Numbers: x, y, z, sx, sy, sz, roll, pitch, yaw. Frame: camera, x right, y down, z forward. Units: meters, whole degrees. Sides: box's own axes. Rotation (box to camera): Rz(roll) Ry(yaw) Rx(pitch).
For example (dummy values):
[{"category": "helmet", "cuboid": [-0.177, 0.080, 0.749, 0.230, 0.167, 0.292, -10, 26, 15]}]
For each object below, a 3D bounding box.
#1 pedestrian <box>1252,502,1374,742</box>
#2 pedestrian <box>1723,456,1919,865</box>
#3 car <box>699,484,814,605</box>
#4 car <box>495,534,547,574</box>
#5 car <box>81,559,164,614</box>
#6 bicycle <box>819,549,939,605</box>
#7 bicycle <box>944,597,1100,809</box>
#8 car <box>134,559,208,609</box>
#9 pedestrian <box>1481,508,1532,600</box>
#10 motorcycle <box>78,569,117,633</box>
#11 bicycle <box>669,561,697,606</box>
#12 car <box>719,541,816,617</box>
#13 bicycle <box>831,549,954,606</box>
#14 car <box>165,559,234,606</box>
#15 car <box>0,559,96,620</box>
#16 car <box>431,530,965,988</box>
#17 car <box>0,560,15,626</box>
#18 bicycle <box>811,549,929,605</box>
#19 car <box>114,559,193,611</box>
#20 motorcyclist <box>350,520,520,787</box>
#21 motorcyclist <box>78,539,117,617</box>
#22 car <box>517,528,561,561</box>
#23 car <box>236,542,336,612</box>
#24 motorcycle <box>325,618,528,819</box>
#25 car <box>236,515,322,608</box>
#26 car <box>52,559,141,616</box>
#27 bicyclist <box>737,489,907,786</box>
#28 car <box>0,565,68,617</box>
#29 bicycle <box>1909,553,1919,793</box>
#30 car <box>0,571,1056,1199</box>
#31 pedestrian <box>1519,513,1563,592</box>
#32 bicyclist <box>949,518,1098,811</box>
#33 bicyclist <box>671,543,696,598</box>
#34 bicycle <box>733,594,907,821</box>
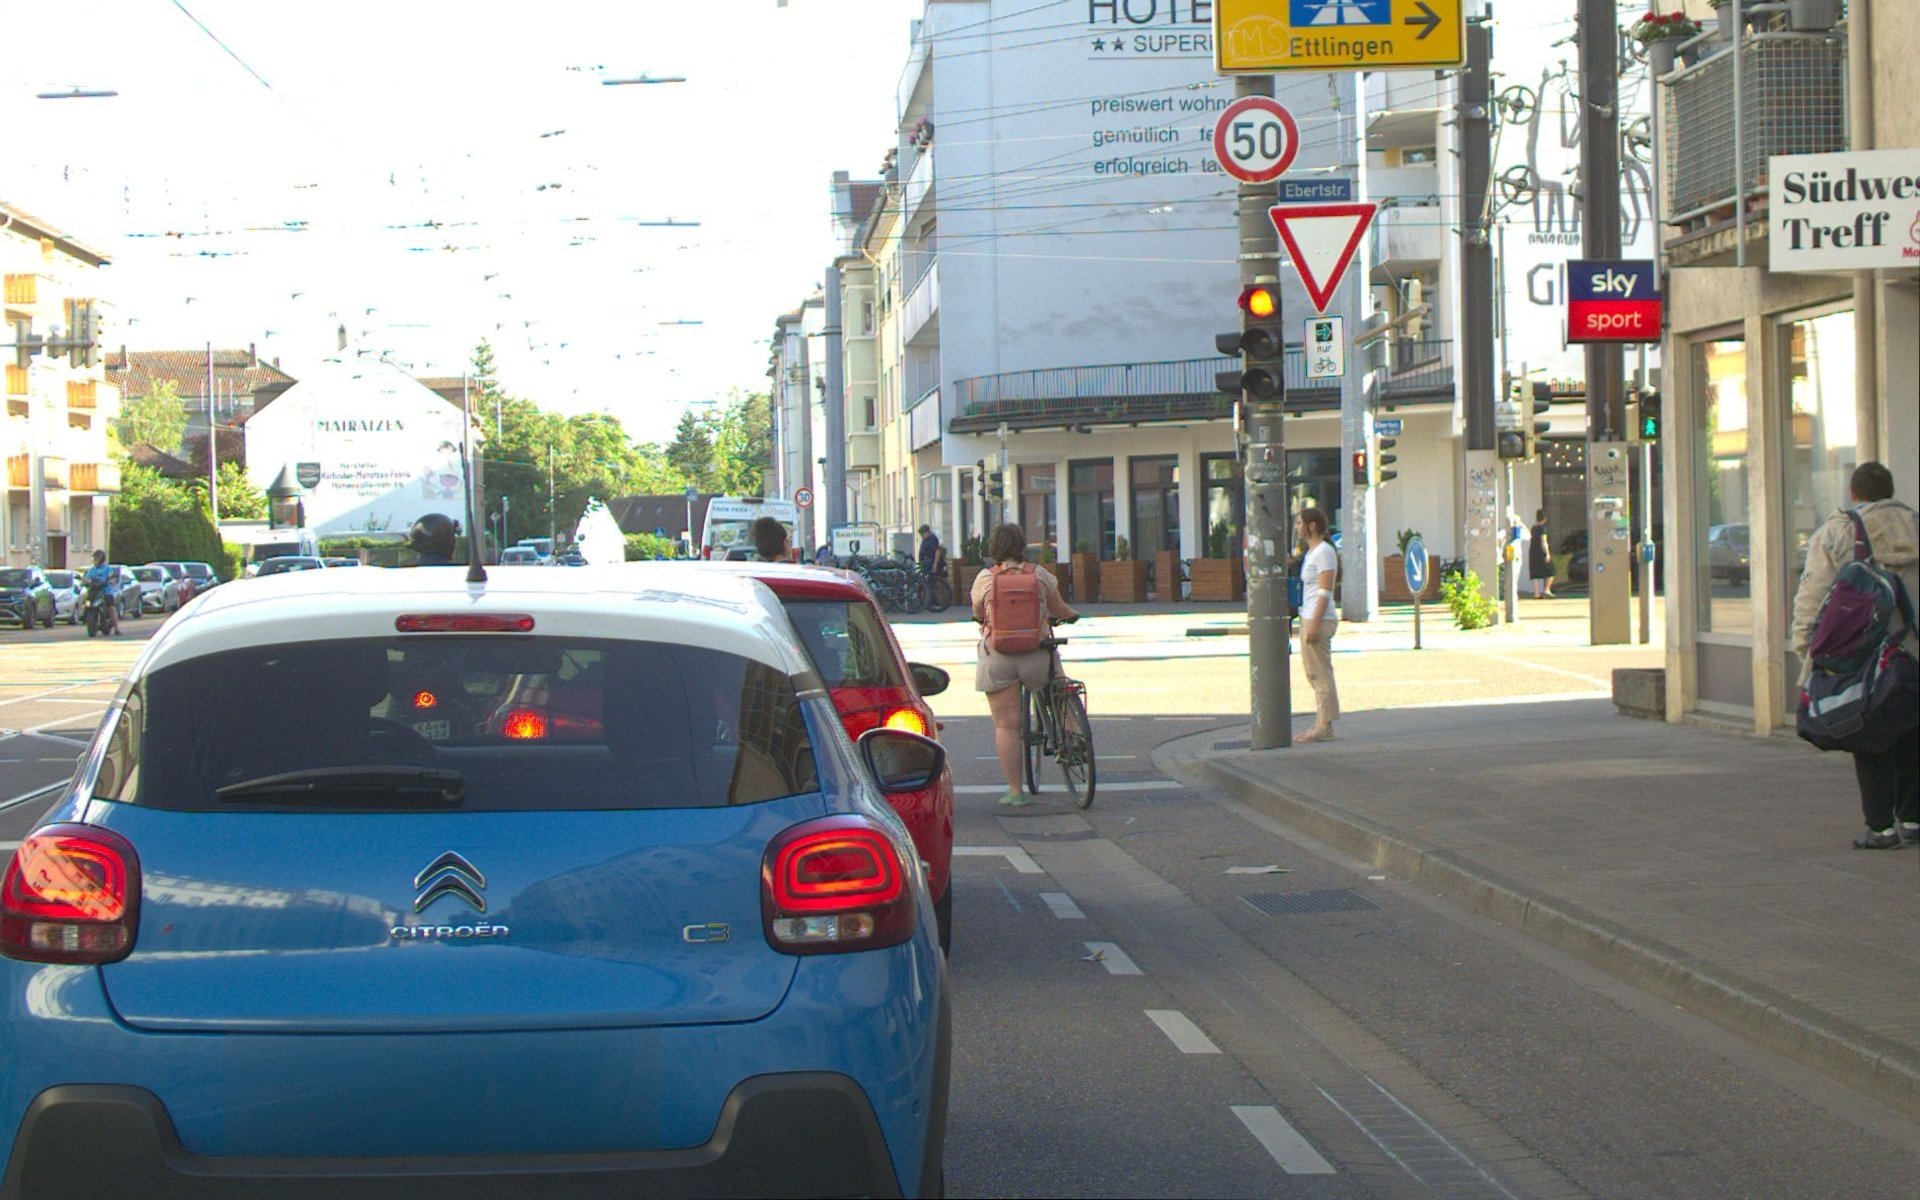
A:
[{"category": "pedestrian", "cuboid": [2.482, 0.150, 24.141, 0.540, 1.618, 0.732, -5, -1, 21]}, {"category": "pedestrian", "cuboid": [3.743, 0.221, 14.103, 0.884, 1.586, 0.811, -4, 2, -8]}, {"category": "car", "cuboid": [-4.342, -1.168, 72.824, 2.265, 2.473, 5.009, 0, 1, -5]}, {"category": "car", "cuboid": [-21.797, -2.265, 170.914, 2.218, 1.925, 4.950, 1, 1, -4]}, {"category": "car", "cuboid": [-24.973, -0.420, 102.622, 1.869, 1.571, 4.001, 1, 1, -6]}, {"category": "bicycle", "cuboid": [-1.591, -0.457, 67.180, 2.251, 0.998, 0.856, -3, 1, -5]}, {"category": "bicycle", "cuboid": [0.395, 0.582, 20.536, 0.811, 1.177, 2.064, 1, 1, 4]}, {"category": "car", "cuboid": [-25.814, -0.533, 112.620, 1.869, 1.571, 4.001, 1, 1, -6]}, {"category": "pedestrian", "cuboid": [9.617, -0.804, 60.465, 0.611, 1.603, 0.667, 1, 1, 38]}, {"category": "motorcycle", "cuboid": [-16.800, 0.027, 66.984, 0.711, 1.216, 1.966, -1, -1, -14]}, {"category": "bicycle", "cuboid": [-10.271, -0.619, 127.547, 0.791, 1.664, 2.230, 1, 1, 1]}, {"category": "car", "cuboid": [-3.828, -0.429, 67.864, 1.657, 1.426, 3.889, 1, 1, -7]}, {"category": "bicycle", "cuboid": [-1.301, -0.430, 65.813, 2.251, 0.998, 0.856, -3, 1, -5]}, {"category": "car", "cuboid": [-26.301, -0.604, 118.978, 1.869, 1.571, 4.001, 1, 1, -6]}, {"category": "car", "cuboid": [-24.391, -0.305, 92.078, 1.869, 1.571, 4.001, 1, 1, -6]}, {"category": "car", "cuboid": [-1.054, 0.508, 13.512, 1.784, 1.516, 3.763, 1, 1, -5]}, {"category": "car", "cuboid": [-23.185, -0.162, 79.477, 1.741, 1.521, 4.230, 1, 1, -4]}, {"category": "bicycle", "cuboid": [-1.789, -0.464, 68.292, 2.251, 0.998, 0.856, -3, 1, -5]}, {"category": "car", "cuboid": [-25.206, -0.473, 107.547, 1.869, 1.571, 4.001, 1, 1, -6]}, {"category": "motorcyclist", "cuboid": [-2.994, 0.297, 19.664, 0.855, 1.483, 0.729, 1, 0, -1]}, {"category": "motorcyclist", "cuboid": [-16.836, -0.422, 67.119, 0.693, 1.491, 0.684, -1, -1, -14]}, {"category": "car", "cuboid": [-22.971, -3.037, 187.838, 2.074, 1.756, 5.037, 1, 1, -4]}, {"category": "car", "cuboid": [-14.954, -0.523, 76.436, 1.778, 1.481, 3.829, -2, 1, -5]}, {"category": "motorcycle", "cuboid": [-2.993, 0.642, 19.480, 0.855, 1.043, 1.942, 1, 1, -1]}, {"category": "car", "cuboid": [-23.555, -1.327, 119.054, 2.417, 3.131, 3.489, 1, 0, -3]}, {"category": "car", "cuboid": [-24.588, -0.367, 97.983, 1.869, 1.571, 4.001, 1, 1, -6]}, {"category": "bicyclist", "cuboid": [-0.796, 0.206, 20.003, 0.940, 1.667, 1.079, 1, 0, -2]}, {"category": "car", "cuboid": [-23.671, -0.240, 85.885, 1.946, 1.235, 4.283, 1, 1, -5]}, {"category": "bicycle", "cuboid": [4.903, 0.353, 15.767, 0.496, 1.157, 1.777, -1, 0, -3]}, {"category": "car", "cuboid": [-0.759, 0.675, 7.179, 1.736, 1.447, 3.662, 0, 1, 4]}, {"category": "pedestrian", "cuboid": [10.578, -0.866, 62.606, 0.607, 1.439, 0.554, 1, 0, 32]}, {"category": "bicyclist", "cuboid": [0.386, 0.366, 20.401, 0.811, 1.686, 0.935, 1, 0, 4]}, {"category": "bicyclist", "cuboid": [-10.265, -1.083, 127.550, 0.791, 2.018, 0.986, 1, 0, 1]}, {"category": "bicycle", "cuboid": [-0.803, 0.589, 19.970, 0.940, 1.219, 2.095, 1, 1, -2]}]
